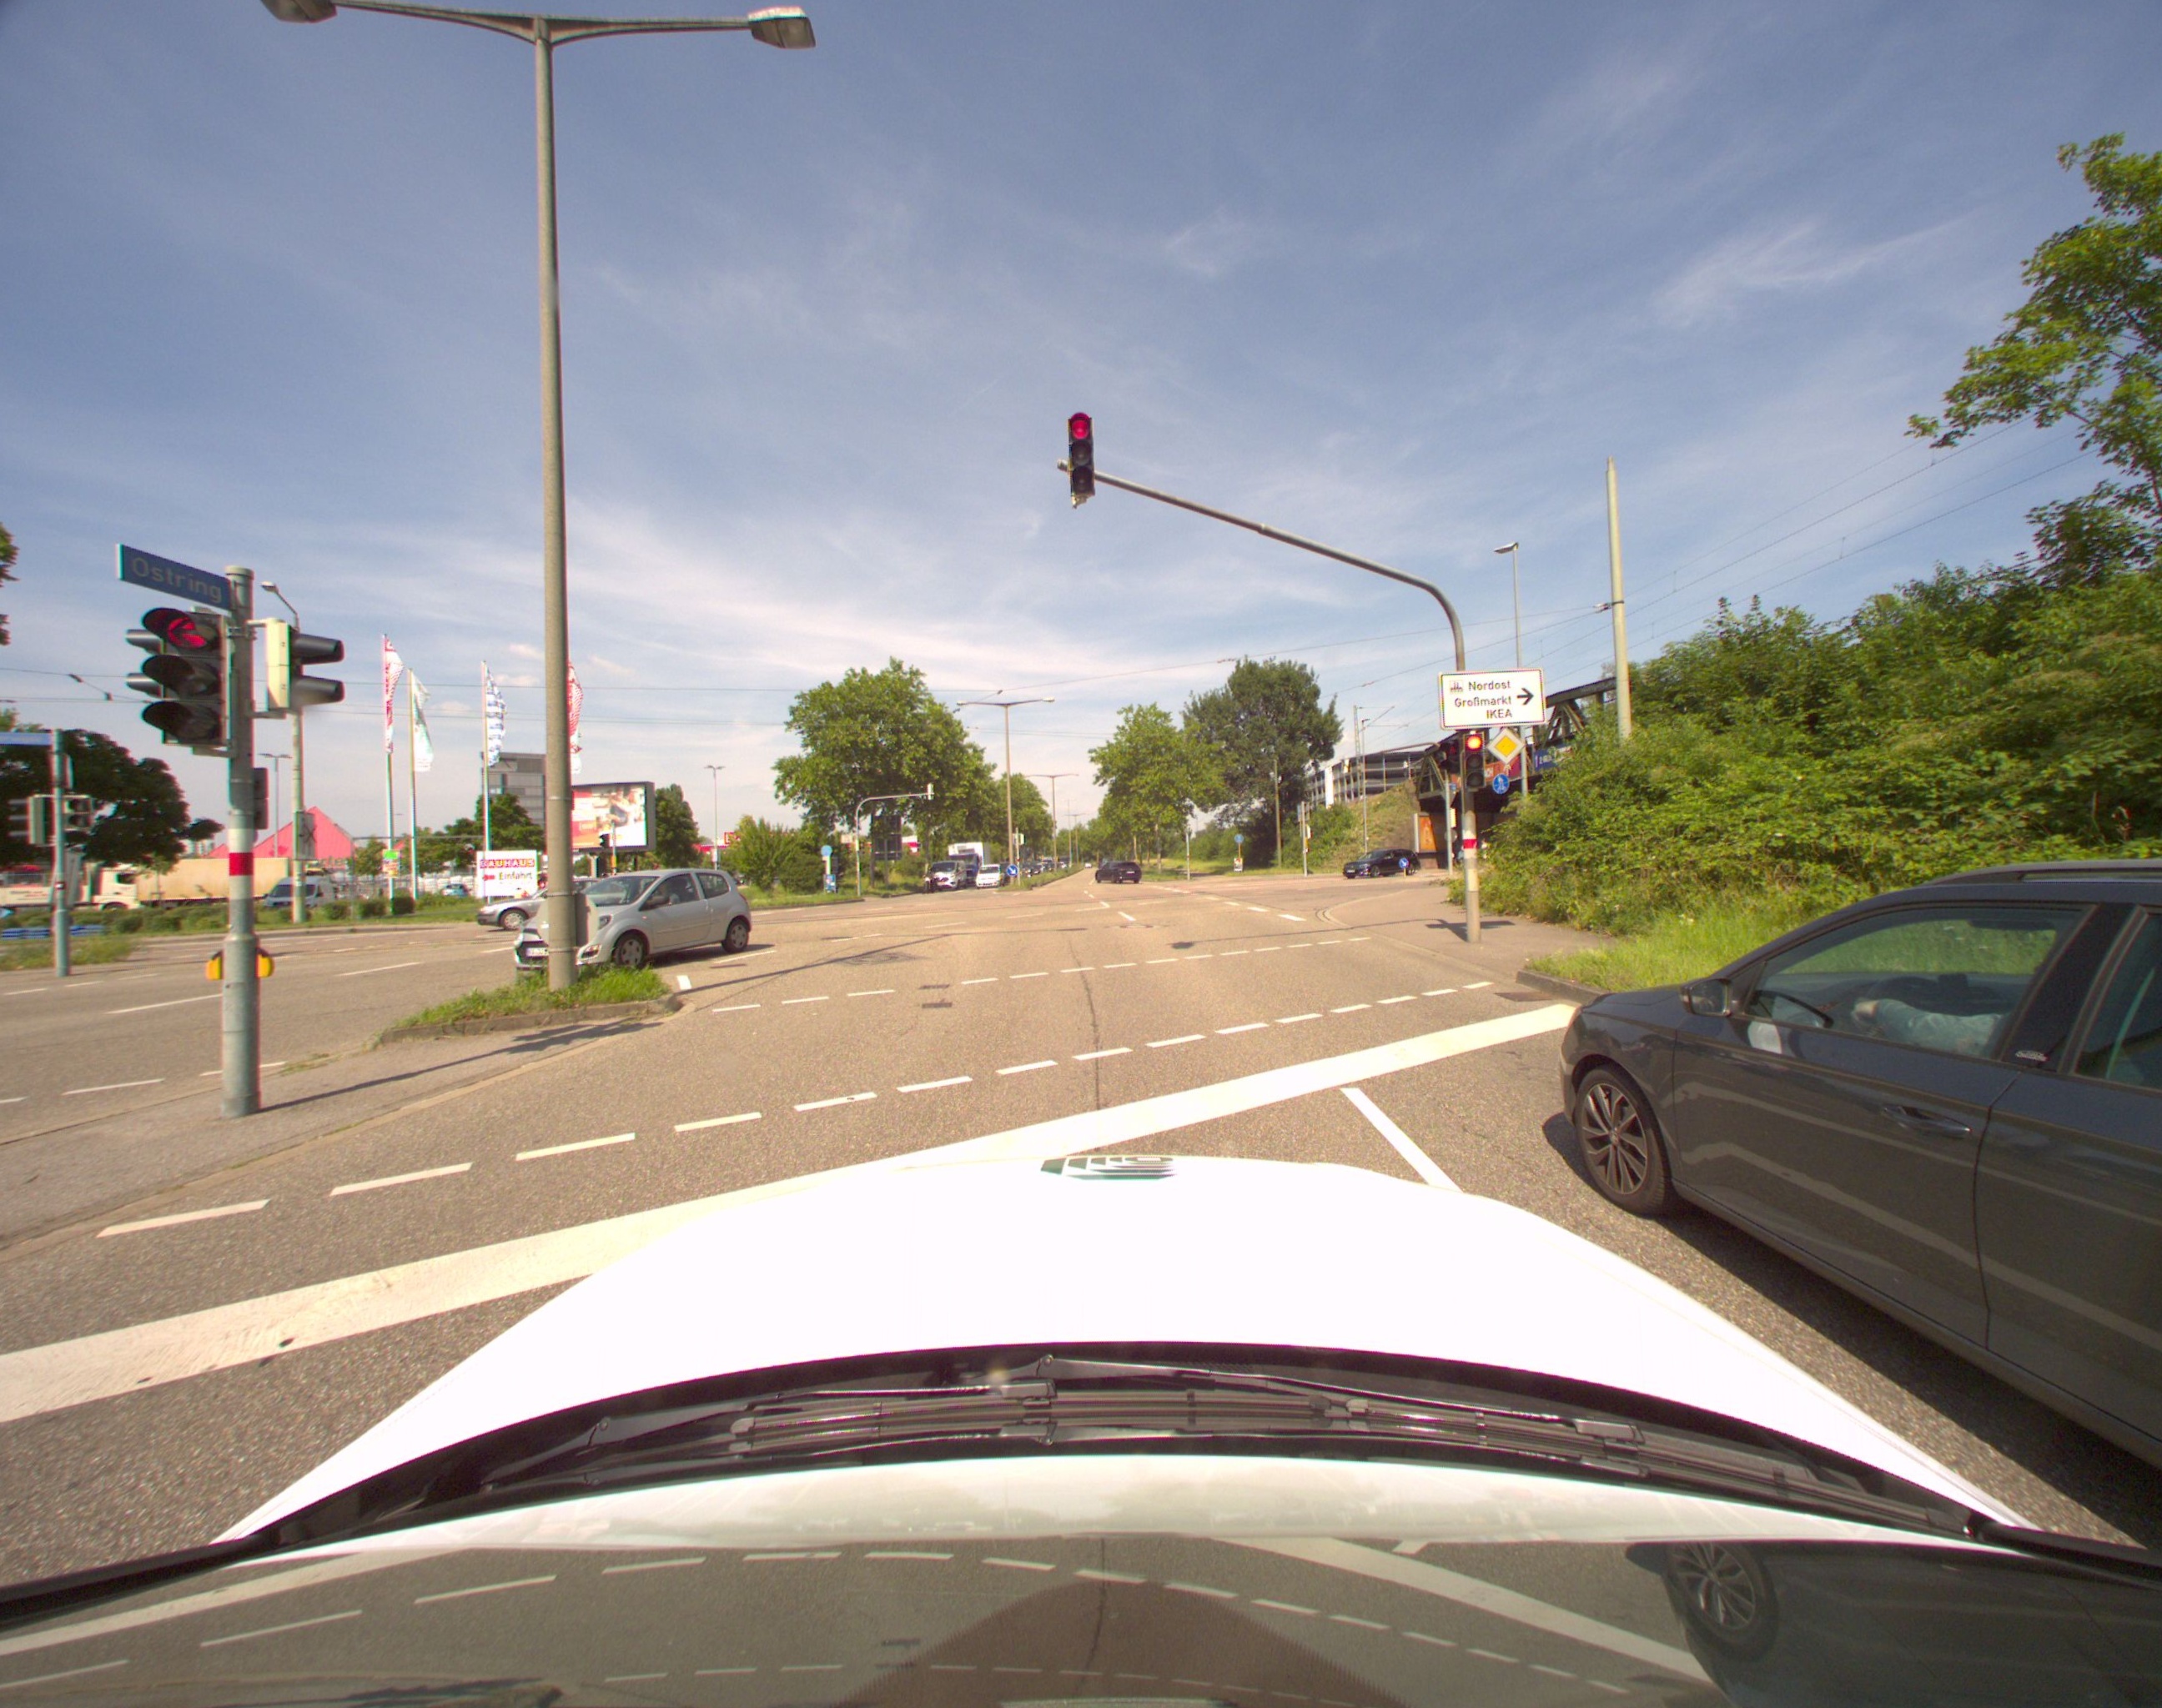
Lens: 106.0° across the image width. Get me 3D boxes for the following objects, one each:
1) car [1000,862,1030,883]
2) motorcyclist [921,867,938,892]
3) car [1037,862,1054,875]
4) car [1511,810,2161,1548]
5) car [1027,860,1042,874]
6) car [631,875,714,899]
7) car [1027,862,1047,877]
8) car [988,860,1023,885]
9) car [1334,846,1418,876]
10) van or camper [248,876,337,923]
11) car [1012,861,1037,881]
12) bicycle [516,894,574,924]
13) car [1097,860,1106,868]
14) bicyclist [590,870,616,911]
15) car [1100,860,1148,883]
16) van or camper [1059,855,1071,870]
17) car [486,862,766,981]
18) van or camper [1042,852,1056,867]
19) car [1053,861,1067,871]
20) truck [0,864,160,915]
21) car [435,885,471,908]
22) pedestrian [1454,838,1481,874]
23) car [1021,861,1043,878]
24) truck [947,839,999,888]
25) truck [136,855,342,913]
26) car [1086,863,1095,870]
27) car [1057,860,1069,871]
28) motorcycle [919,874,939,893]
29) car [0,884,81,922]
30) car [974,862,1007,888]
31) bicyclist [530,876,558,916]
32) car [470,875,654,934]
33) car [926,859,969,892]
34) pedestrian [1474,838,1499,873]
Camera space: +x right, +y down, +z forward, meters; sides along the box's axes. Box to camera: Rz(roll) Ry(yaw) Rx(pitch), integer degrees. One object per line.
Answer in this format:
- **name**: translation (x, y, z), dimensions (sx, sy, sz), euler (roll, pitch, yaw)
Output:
- **car**: translation (-5.269, 1.460, 65.678), dimensions (1.790, 1.468, 4.525), euler (-3, 0, 2)
- **motorcyclist**: translation (-9.058, 1.502, 48.622), dimensions (0.740, 1.470, 0.988), euler (-2, 0, 1)
- **car**: translation (-4.235, 1.710, 97.860), dimensions (1.778, 1.489, 4.211), euler (-3, 0, 1)
- **car**: translation (2.969, 0.633, 2.098), dimensions (1.668, 1.453, 4.037), euler (-1, 0, 1)
- **car**: translation (-6.757, 1.910, 119.272), dimensions (1.682, 1.858, 4.038), euler (-3, -1, 2)
- **car**: translation (-27.766, 2.228, 55.481), dimensions (4.556, 1.414, 2.196), euler (-2, -1, -6)
- **car**: translation (-4.566, 1.608, 85.165), dimensions (1.682, 1.472, 3.816), euler (-3, 0, 2)
- **car**: translation (-5.402, 1.318, 58.743), dimensions (1.813, 1.646, 4.695), euler (-3, -1, 2)
- **car**: translation (15.700, 0.374, 43.298), dimensions (4.233, 1.443, 1.773), euler (-2, 0, -29)
- **van or camper**: translation (-41.026, 2.306, 42.542), dimensions (2.204, 2.210, 5.462), euler (-2, -1, -32)
- **car**: translation (-4.950, 1.463, 72.255), dimensions (1.682, 1.586, 4.242), euler (-3, 0, 2)
- **bicycle**: translation (-19.167, 1.955, 29.166), dimensions (0.430, 0.937, 1.761), euler (-2, -1, 24)
- **car**: translation (4.258, 2.091, 167.301), dimensions (1.682, 1.510, 3.816), euler (-3, 0, 2)
- **bicyclist**: translation (-17.844, 1.368, 30.394), dimensions (0.523, 1.491, 0.612), euler (-2, -1, 17)
- **car**: translation (2.766, 1.139, 53.394), dimensions (1.838, 1.391, 4.240), euler (-2, 0, -17)
- **van or camper**: translation (-2.731, 1.473, 141.005), dimensions (1.932, 2.368, 5.397), euler (-3, -1, 0)
- **car**: translation (-6.875, 0.945, 12.795), dimensions (1.637, 1.514, 3.751), euler (-2, 0, 15)
- **van or camper**: translation (-5.845, 1.004, 148.262), dimensions (2.007, 2.587, 5.519), euler (-3, 0, 2)
- **car**: translation (-3.173, 1.845, 125.482), dimensions (1.777, 1.459, 4.473), euler (-3, 0, 2)
- **truck**: translation (-64.979, 2.232, 50.692), dimensions (9.655, 2.892, 2.895), euler (-2, -1, -35)
- **car**: translation (-45.835, 3.077, 59.508), dimensions (1.829, 1.572, 4.234), euler (-2, -1, -34)
- **pedestrian**: translation (18.037, 0.094, 38.044), dimensions (0.865, 1.611, 0.778), euler (-2, -1, 1)
- **car**: translation (-4.768, 1.538, 79.529), dimensions (1.682, 1.473, 4.220), euler (-4, 0, 2)
- **truck**: translation (-8.404, 0.687, 63.949), dimensions (2.793, 3.471, 6.693), euler (-4, 0, 2)
- **truck**: translation (-55.058, 1.887, 53.716), dimensions (8.964, 3.311, 3.125), euler (-2, -1, -36)
- **car**: translation (2.174, 2.892, 194.127), dimensions (1.798, 1.510, 3.810), euler (-2, 0, -3)
- **car**: translation (-2.846, 1.858, 132.192), dimensions (1.682, 1.510, 3.816), euler (-3, 0, 2)
- **motorcycle**: translation (-9.021, 1.746, 48.525), dimensions (0.685, 0.991, 2.218), euler (-2, 0, 2)
- **car**: translation (-77.026, 3.556, 59.867), dimensions (2.396, 2.529, 6.066), euler (-2, -1, -31)
- **car**: translation (-5.841, 1.348, 52.905), dimensions (1.587, 1.477, 3.731), euler (-3, 0, 2)
- **bicyclist**: translation (-19.236, 1.495, 29.156), dimensions (0.523, 1.414, 0.613), euler (-2, -1, 24)
- **car**: translation (-15.368, 1.440, 24.330), dimensions (4.479, 1.411, 1.622), euler (-2, 0, -33)
- **car**: translation (-8.715, 1.377, 53.624), dimensions (1.970, 1.999, 5.030), euler (-2, 0, -1)
- **pedestrian**: translation (18.937, 0.058, 38.070), dimensions (0.726, 1.579, 0.778), euler (-2, -1, 1)
